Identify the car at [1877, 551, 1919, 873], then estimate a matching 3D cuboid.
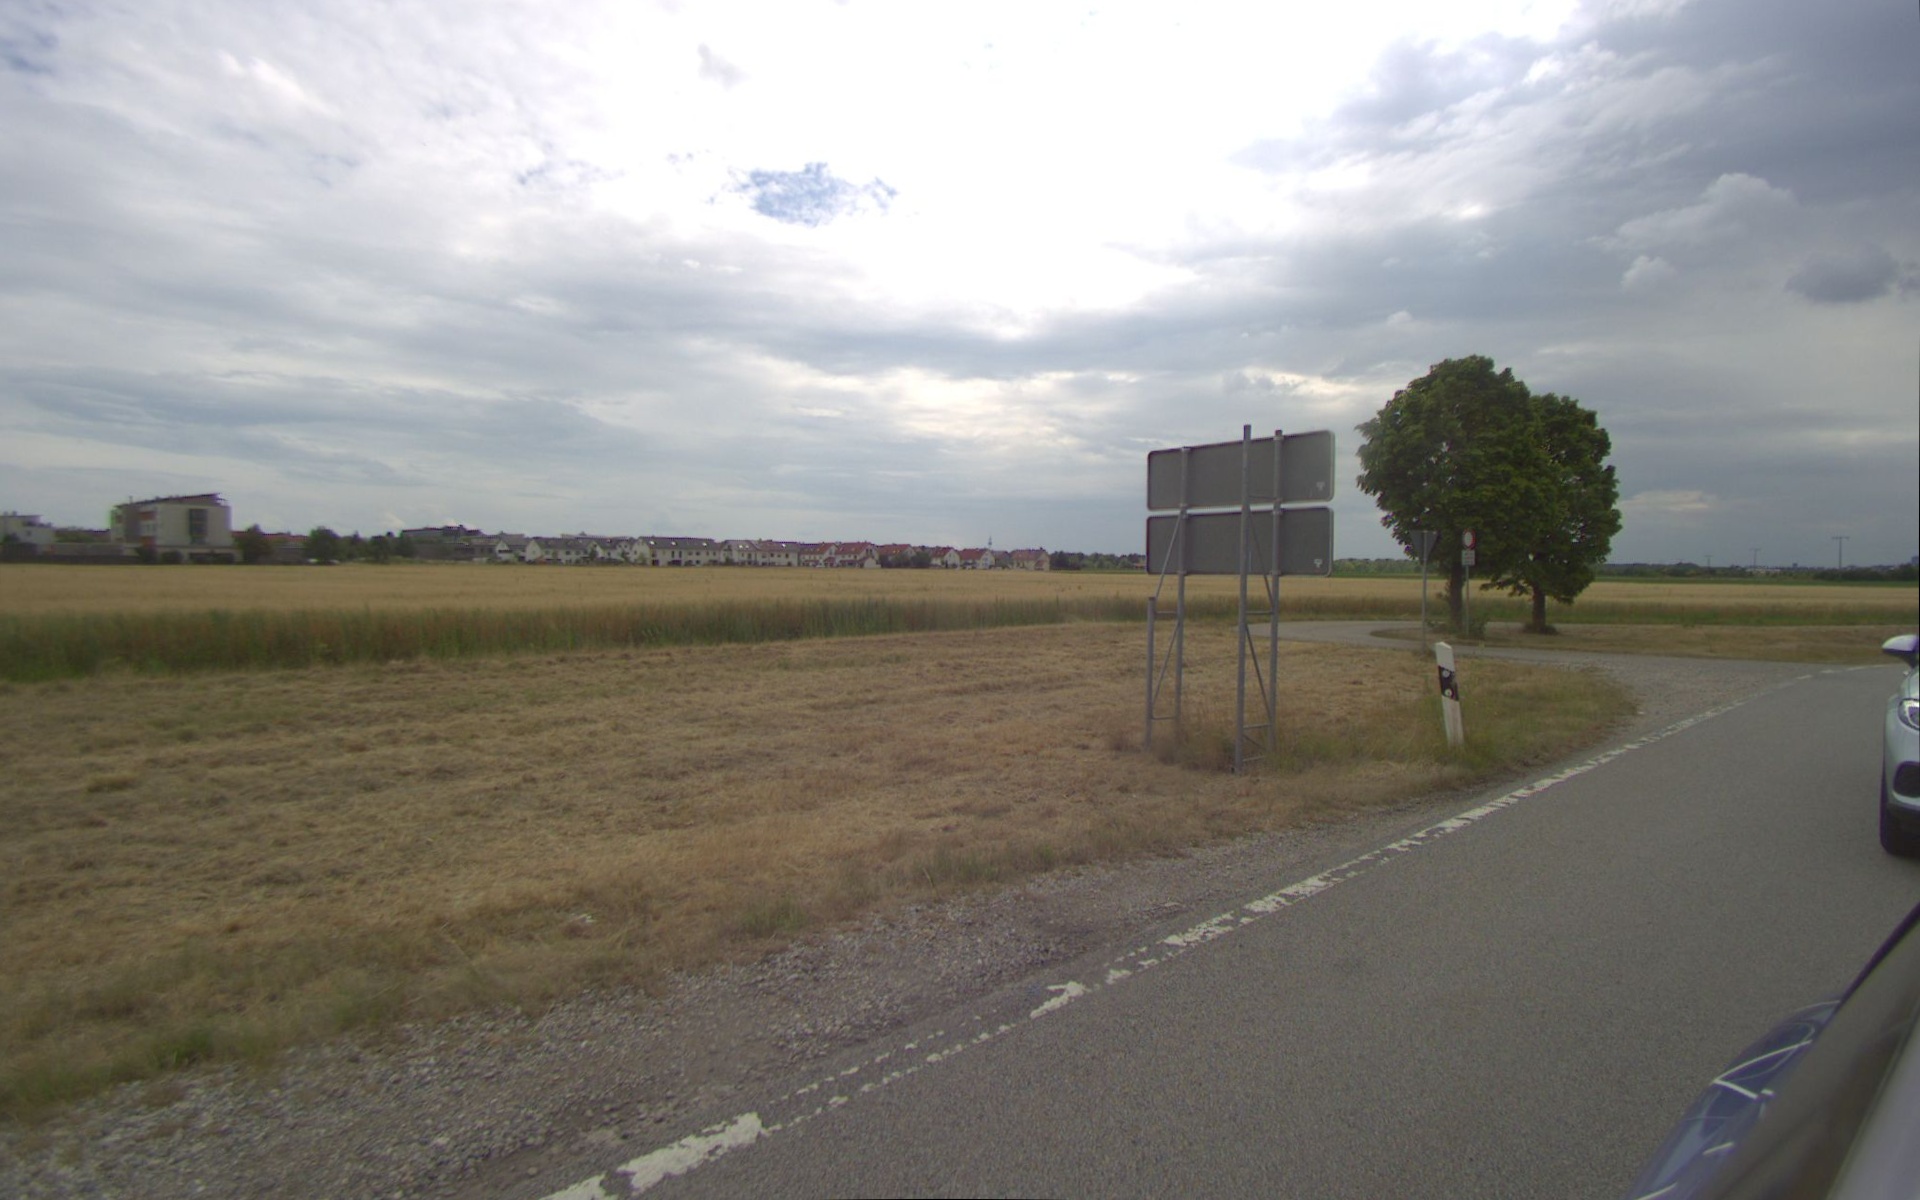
[{"bbox_3d":[6.908,0.577,5.987,4.375,1.606,1.834,0,2,-43],"label":"car"}]
